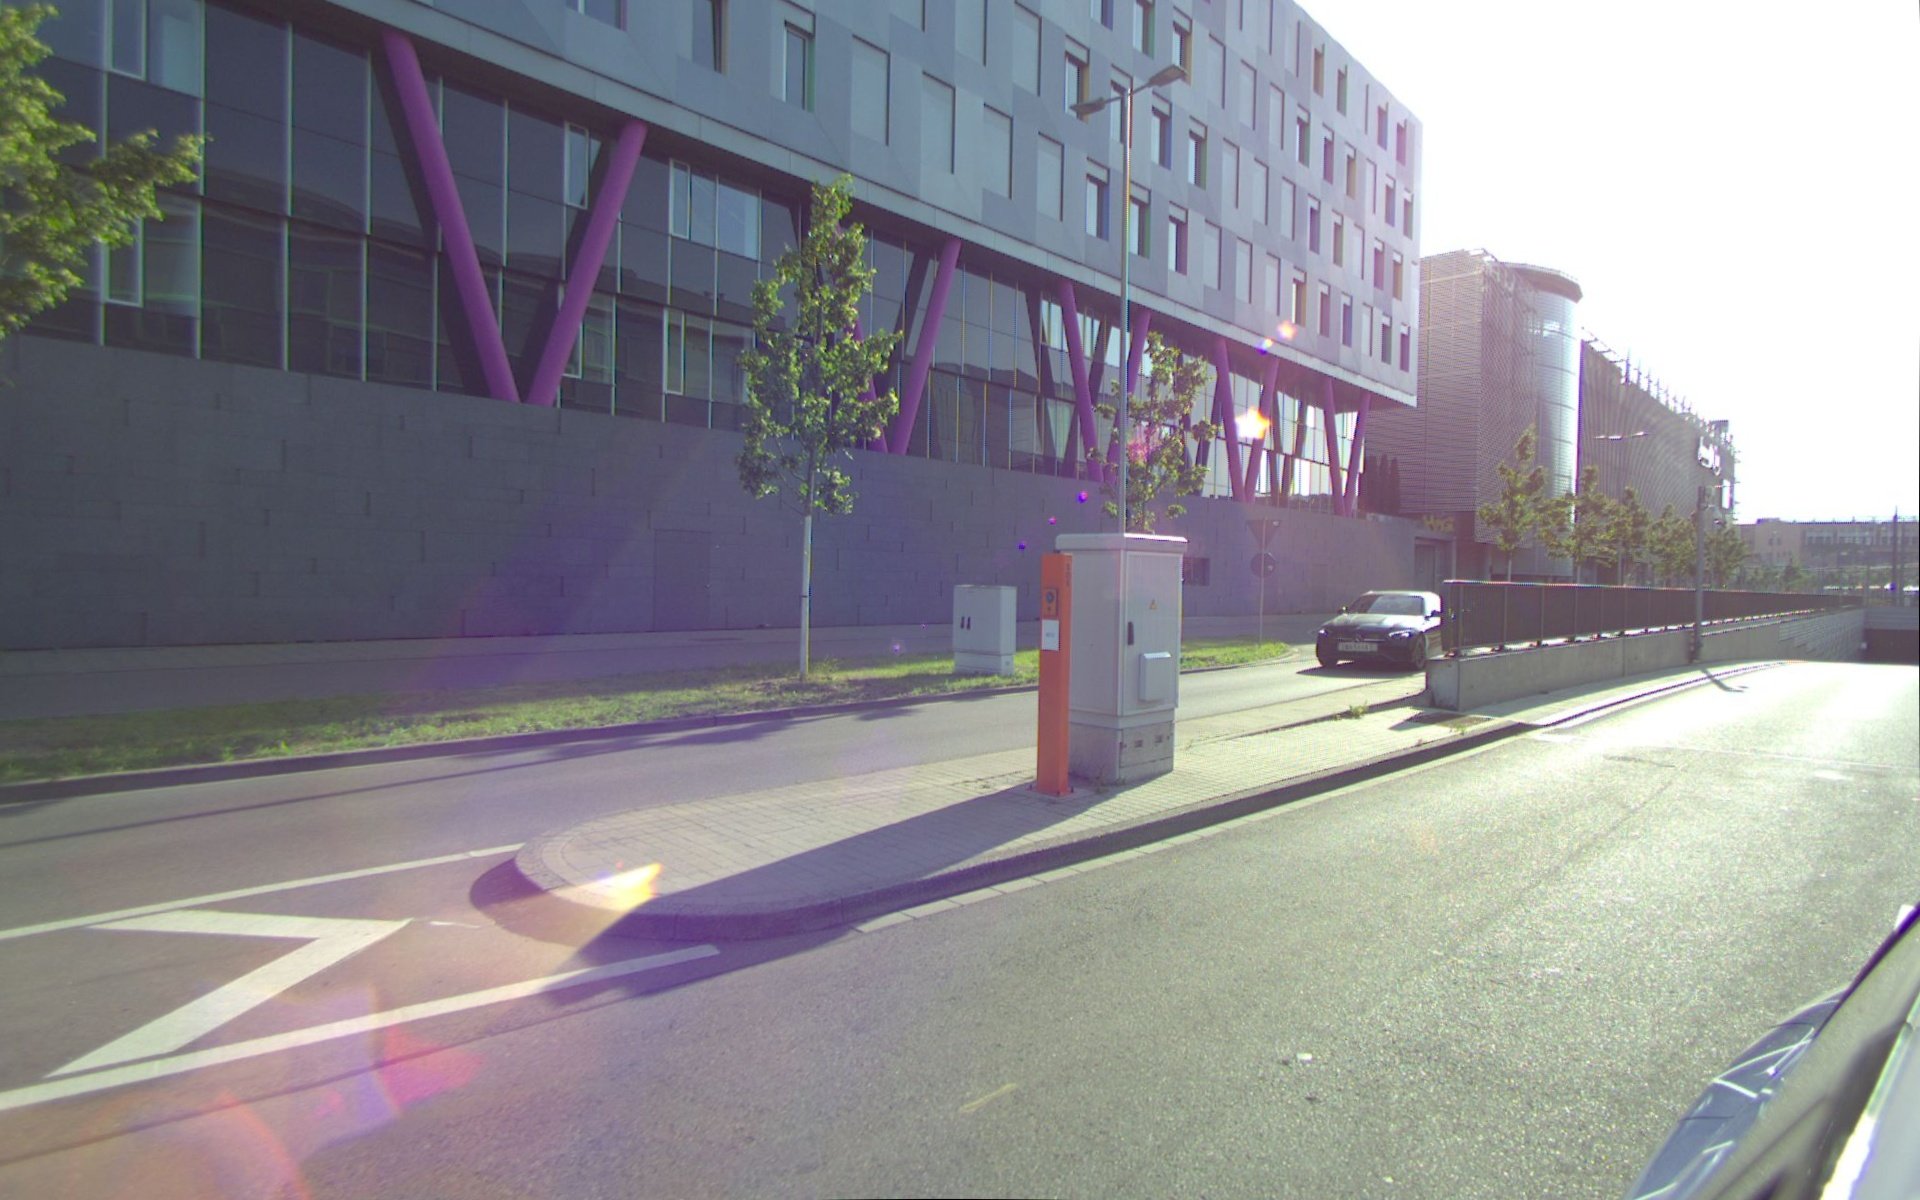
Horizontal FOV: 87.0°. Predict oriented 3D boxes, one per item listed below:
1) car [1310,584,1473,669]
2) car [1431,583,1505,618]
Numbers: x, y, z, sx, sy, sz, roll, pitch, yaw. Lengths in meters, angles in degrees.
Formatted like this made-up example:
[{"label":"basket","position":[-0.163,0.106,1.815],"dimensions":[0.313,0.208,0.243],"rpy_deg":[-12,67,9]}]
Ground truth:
[{"label":"car","position":[8.586,0.445,19.906],"dimensions":[1.835,1.468,4.492],"rpy_deg":[0,0,39]},{"label":"car","position":[23.005,-0.038,45.748],"dimensions":[1.889,1.444,4.405],"rpy_deg":[1,2,42]}]
